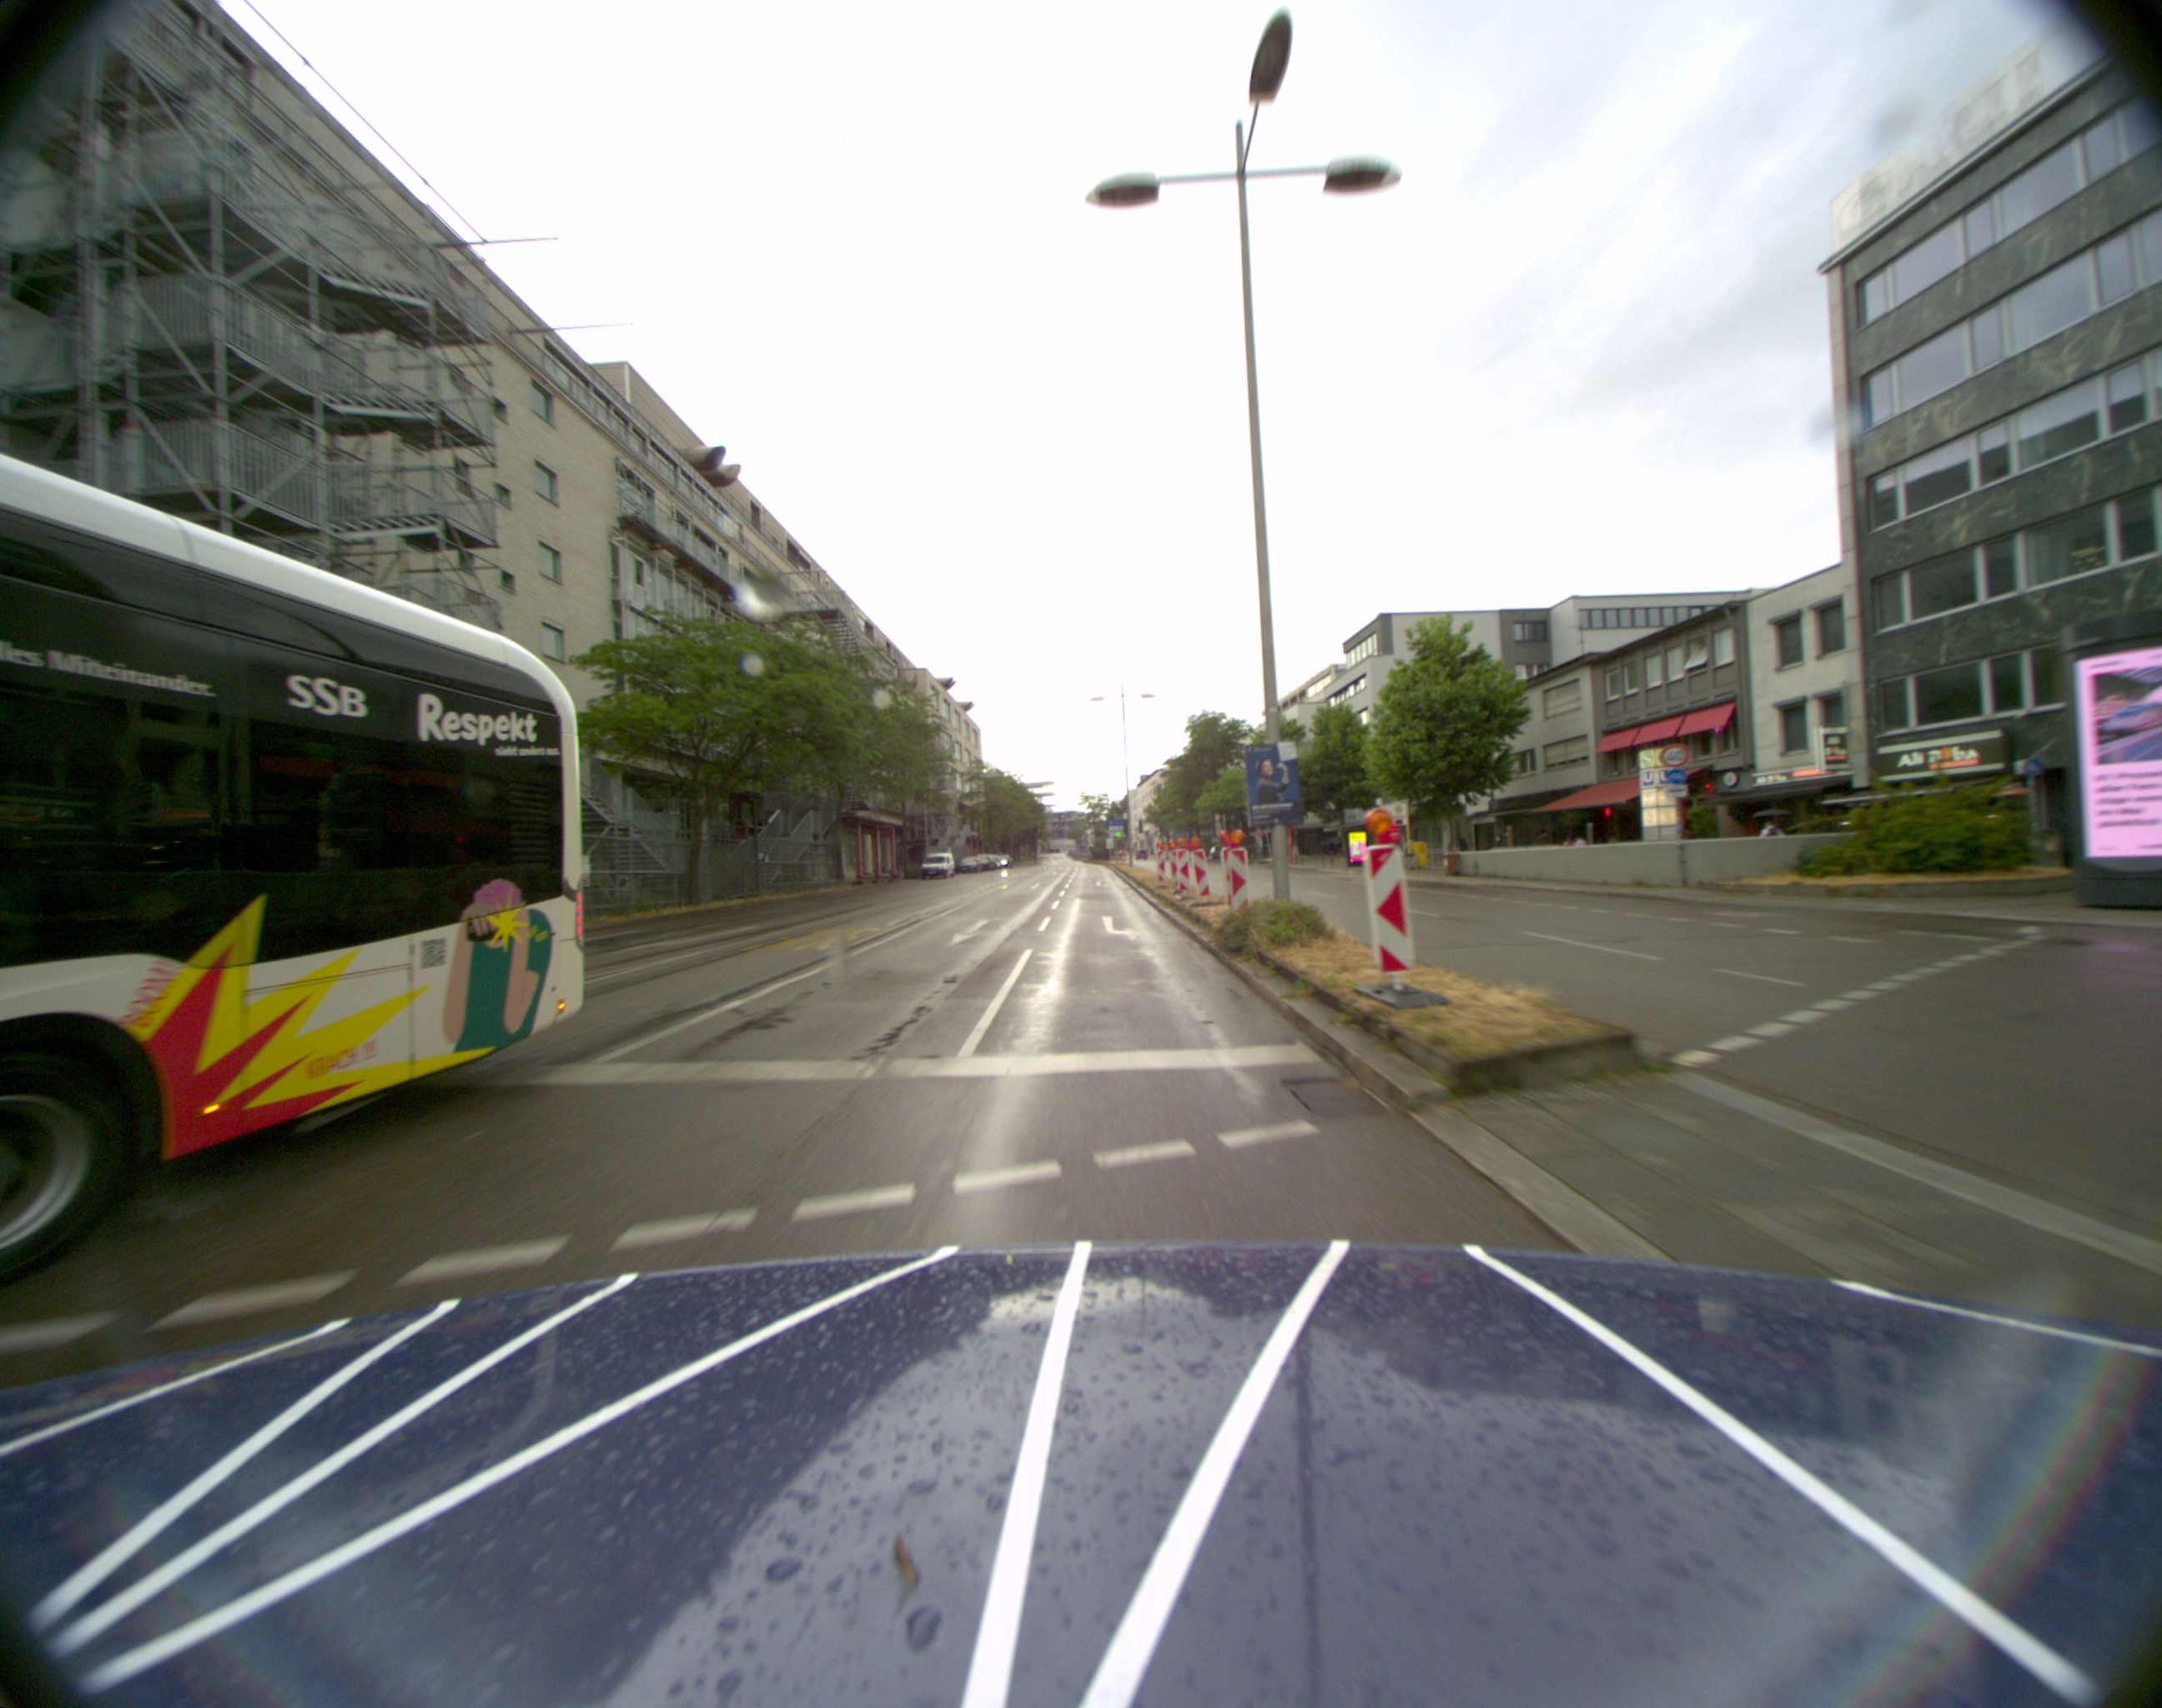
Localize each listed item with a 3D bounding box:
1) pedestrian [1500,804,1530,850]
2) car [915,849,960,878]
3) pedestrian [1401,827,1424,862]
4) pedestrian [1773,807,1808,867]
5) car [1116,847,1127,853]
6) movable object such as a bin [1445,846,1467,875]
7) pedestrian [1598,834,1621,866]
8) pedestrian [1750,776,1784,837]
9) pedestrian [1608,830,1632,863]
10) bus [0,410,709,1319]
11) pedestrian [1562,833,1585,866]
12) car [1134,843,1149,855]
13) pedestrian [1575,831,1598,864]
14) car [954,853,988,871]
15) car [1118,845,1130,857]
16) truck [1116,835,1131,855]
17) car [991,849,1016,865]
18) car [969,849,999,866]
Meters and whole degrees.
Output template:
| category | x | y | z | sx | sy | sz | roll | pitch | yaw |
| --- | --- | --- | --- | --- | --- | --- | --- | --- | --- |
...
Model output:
| category | x | y | z | sx | sy | sz | roll | pitch | yaw |
| --- | --- | --- | --- | --- | --- | --- | --- | --- | --- |
| pedestrian | 17.396 | -1.064 | 30.489 | 0.611 | 1.813 | 0.791 | -3 | 2 | -22 |
| car | -10.233 | 0.630 | 54.514 | 2.213 | 1.895 | 4.329 | -2 | 1 | 1 |
| pedestrian | 19.654 | -0.575 | 45.025 | 0.922 | 2.002 | 0.944 | -2 | 2 | 1 |
| pedestrian | 23.900 | -0.566 | 25.600 | 0.597 | 2.002 | 0.729 | -2 | 1 | 21 |
| car | 9.506 | -0.900 | 177.398 | 1.693 | 1.501 | 4.287 | -2 | 0 | -10 |
| movable object such as a bin | 14.773 | 0.260 | 29.942 | 0.507 | 1.094 | 0.660 | -3 | 2 | -1 |
| pedestrian | 25.217 | -0.198 | 36.247 | 0.669 | 1.520 | 0.611 | -2 | 1 | 4 |
| pedestrian | 23.279 | -1.599 | 25.790 | 0.597 | 2.002 | 0.729 | -2 | 1 | 21 |
| pedestrian | 25.218 | -0.354 | 35.526 | 0.669 | 1.520 | 0.611 | -2 | 1 | 4 |
| bus | -5.504 | 0.071 | 2.995 | 2.890 | 3.420 | 9.710 | -2 | 0 | 2 |
| pedestrian | 23.569 | -0.225 | 36.363 | 0.669 | 1.520 | 0.611 | -2 | 1 | 4 |
| car | 10.805 | -0.932 | 135.902 | 1.999 | 1.916 | 4.962 | -3 | 2 | -3 |
| pedestrian | 23.532 | -0.292 | 35.379 | 0.669 | 1.520 | 0.611 | -2 | 1 | 4 |
| car | -9.559 | 0.672 | 66.278 | 2.147 | 1.329 | 4.816 | -2 | 1 | 1 |
| car | 7.602 | -0.568 | 134.328 | 1.998 | 2.002 | 3.999 | -2 | 1 | 1 |
| truck | 7.657 | -1.672 | 138.893 | 1.999 | 3.557 | 7.571 | -2 | 1 | -1 |
| car | -8.508 | 0.294 | 84.273 | 2.147 | 1.637 | 4.816 | -2 | 1 | 1 |
| car | -9.281 | 0.297 | 73.066 | 2.147 | 1.486 | 4.816 | -2 | 1 | 1 |
